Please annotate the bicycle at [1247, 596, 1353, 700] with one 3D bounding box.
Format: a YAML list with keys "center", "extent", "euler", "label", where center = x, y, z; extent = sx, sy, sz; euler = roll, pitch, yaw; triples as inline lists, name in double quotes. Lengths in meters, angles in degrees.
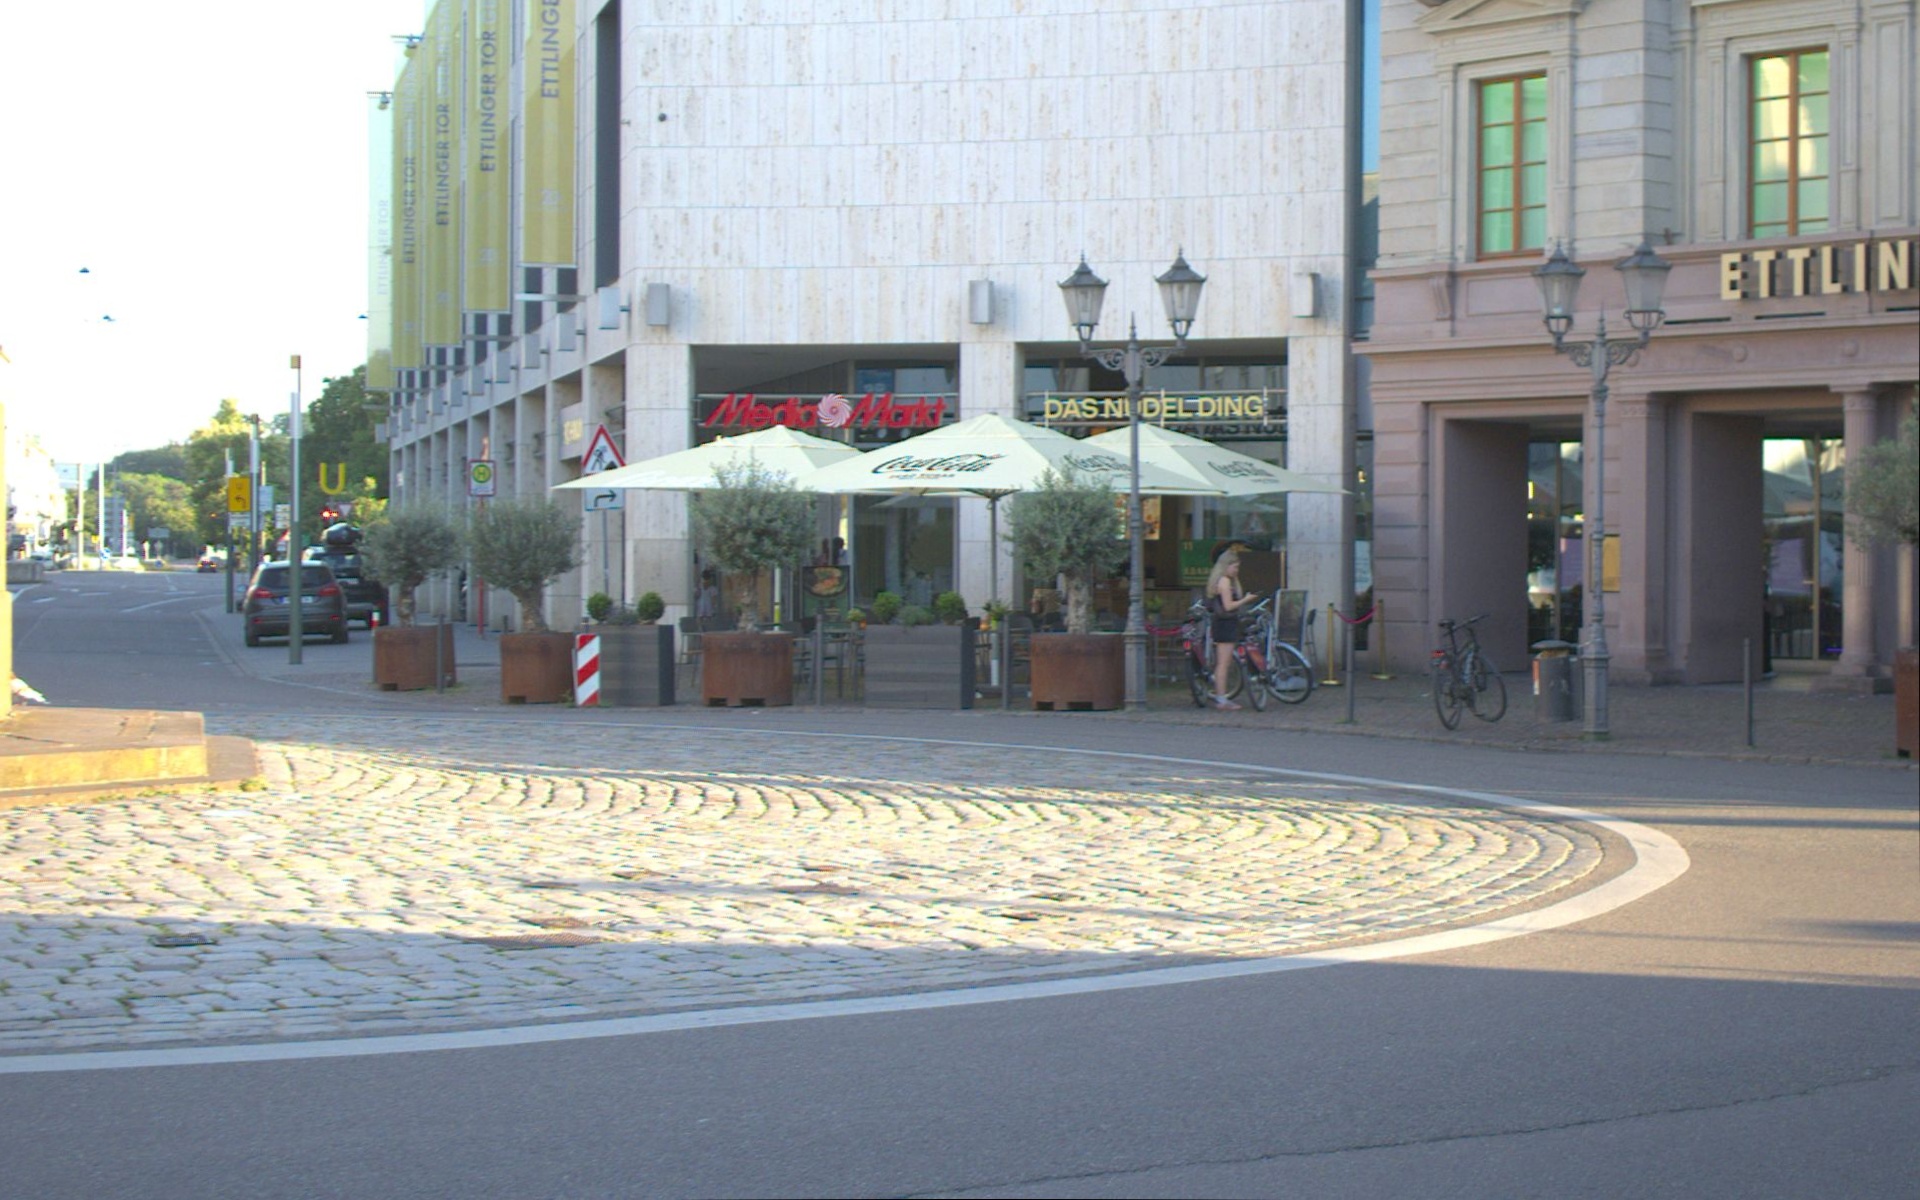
- center: [3.553, 0.484, 35.831]
  extent: [0.620, 1.028, 1.643]
  euler: [1, 1, 23]
  label: "bicycle"

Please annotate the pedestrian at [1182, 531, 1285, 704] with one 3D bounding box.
- center: [2.750, 0.168, 34.588]
  extent: [0.904, 1.722, 0.850]
  euler: [0, 1, -4]
  label: "pedestrian"

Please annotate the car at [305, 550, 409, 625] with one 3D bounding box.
- center: [-12.269, -0.275, 69.822]
  extent: [1.993, 1.459, 4.001]
  euler: [0, 1, -11]
  label: "car"

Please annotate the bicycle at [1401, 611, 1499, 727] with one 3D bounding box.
- center: [4.633, 0.640, 32.435]
  extent: [0.507, 1.028, 1.643]
  euler: [1, 1, 23]
  label: "bicycle"

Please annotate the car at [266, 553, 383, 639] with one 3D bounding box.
- center: [-11.358, -0.093, 61.353]
  extent: [1.993, 1.459, 4.001]
  euler: [0, 1, -11]
  label: "car"

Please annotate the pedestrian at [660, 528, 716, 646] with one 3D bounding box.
- center: [-4.152, -0.206, 52.424]
  extent: [0.707, 1.781, 0.645]
  euler: [0, 1, -19]
  label: "pedestrian"

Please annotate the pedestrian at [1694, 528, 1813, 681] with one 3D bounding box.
- center: [9.579, 0.047, 41.491]
  extent: [0.968, 1.816, 0.990]
  euler: [0, 1, -37]
  label: "pedestrian"

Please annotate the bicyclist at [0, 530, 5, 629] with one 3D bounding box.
- center: [-21.918, -0.461, 77.711]
  extent: [0.599, 2.235, 0.804]
  euler: [0, 1, -12]
  label: "bicyclist"

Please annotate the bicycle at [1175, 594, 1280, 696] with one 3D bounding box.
- center: [2.823, 0.460, 36.119]
  extent: [0.600, 1.028, 1.643]
  euler: [1, 1, 23]
  label: "bicycle"

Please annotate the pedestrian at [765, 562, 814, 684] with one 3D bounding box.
- center: [-1.966, 0.263, 39.741]
  extent: [0.506, 1.393, 0.495]
  euler: [0, 1, 3]
  label: "pedestrian"

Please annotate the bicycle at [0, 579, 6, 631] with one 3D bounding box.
- center: [-21.924, 0.101, 77.672]
  extent: [0.599, 1.134, 1.755]
  euler: [0, 1, -12]
  label: "bicycle"
